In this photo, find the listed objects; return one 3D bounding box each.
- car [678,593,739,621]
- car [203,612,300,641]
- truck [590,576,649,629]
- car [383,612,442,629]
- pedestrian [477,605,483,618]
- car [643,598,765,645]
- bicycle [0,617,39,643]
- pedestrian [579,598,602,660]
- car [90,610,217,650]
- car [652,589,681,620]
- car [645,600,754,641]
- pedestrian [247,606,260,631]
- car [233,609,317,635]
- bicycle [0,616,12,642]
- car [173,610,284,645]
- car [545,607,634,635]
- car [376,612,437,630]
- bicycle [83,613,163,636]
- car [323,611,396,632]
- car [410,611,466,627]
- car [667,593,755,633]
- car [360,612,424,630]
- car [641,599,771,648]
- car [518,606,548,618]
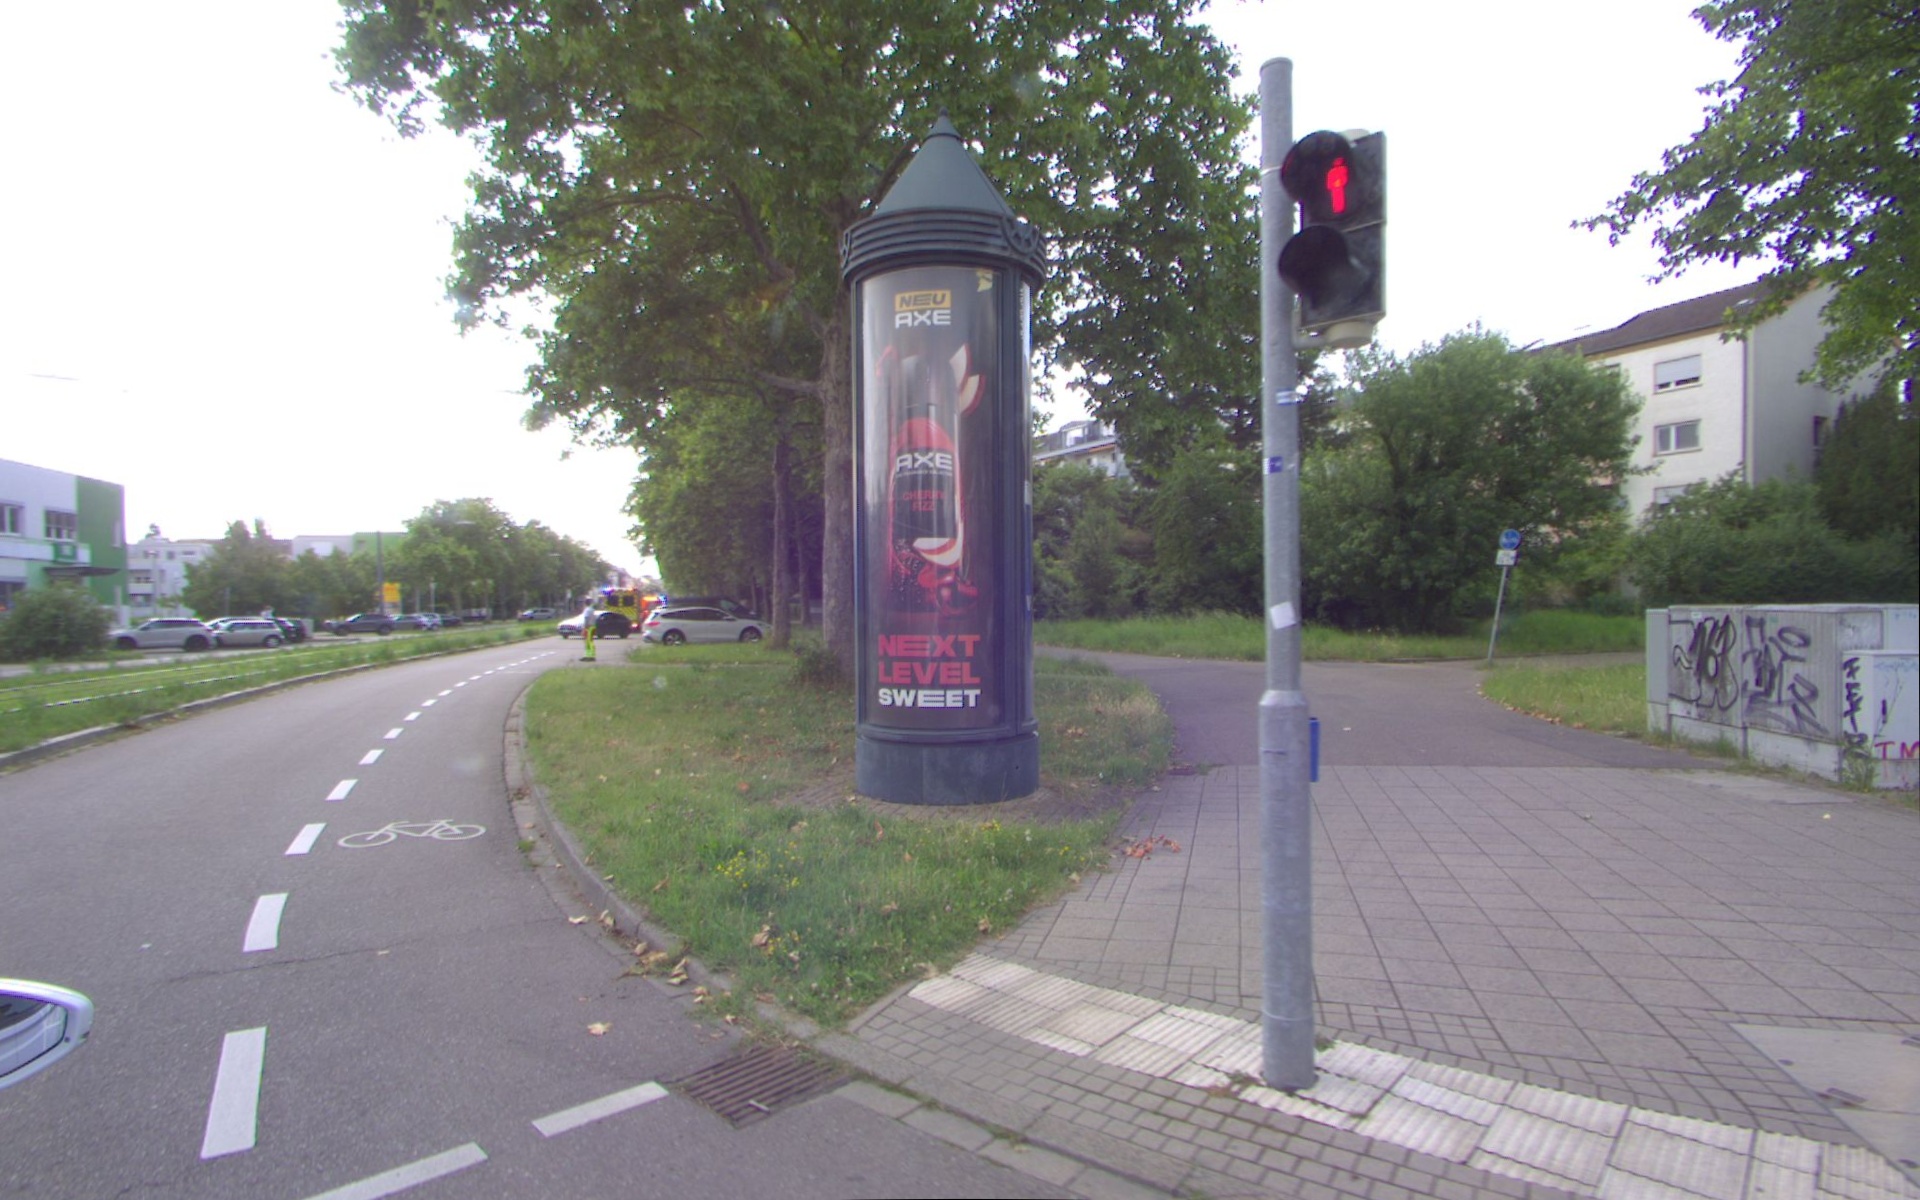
[{"bbox_3d":[-32.029,0.883,127.503,7.334,3.373,2.968,1,-1,-20],"label":"car"},{"bbox_3d":[-38.599,1.407,54.628,4.127,1.523,1.843,0,0,-43],"label":"car"},{"bbox_3d":[-23.332,0.175,68.878,3.135,3.361,7.513,-1,0,-14],"label":"truck"},{"bbox_3d":[-47.622,1.789,87.056,4.263,1.382,1.888,-1,0,-37],"label":"car"},{"bbox_3d":[-64.231,1.589,133.919,0.611,1.752,0.645,1,0,-15],"label":"pedestrian"},{"bbox_3d":[-9.930,0.826,38.845,4.463,1.665,1.997,-1,-1,-17],"label":"car"},{"bbox_3d":[-44.926,1.397,47.084,2.372,1.181,0.748,-1,1,-8],"label":"bicycle"},{"bbox_3d":[-10.333,0.796,27.990,0.577,1.706,0.493,0,0,-19],"label":"pedestrian"},{"bbox_3d":[-36.712,1.323,45.650,1.881,1.651,4.278,0,0,42],"label":"car"},{"bbox_3d":[-33.257,0.569,113.501,2.922,3.373,7.447,1,-1,-16],"label":"car"},{"bbox_3d":[-11.397,0.889,43.807,4.463,1.665,1.997,-1,-1,-17],"label":"car"},{"bbox_3d":[-46.857,1.219,66.416,0.588,1.697,0.539,-1,1,-24],"label":"pedestrian"},{"bbox_3d":[-41.177,1.288,60.212,4.120,1.523,1.847,0,0,-37],"label":"car"},{"bbox_3d":[-45.055,1.363,45.868,2.307,1.181,0.760,-1,1,-9],"label":"bicycle"},{"bbox_3d":[-36.312,1.330,49.750,4.272,1.650,1.884,0,0,-43],"label":"car"},{"bbox_3d":[-19.681,1.108,53.403,1.810,1.412,4.594,0,0,23],"label":"car"},{"bbox_3d":[-46.753,1.750,84.613,4.263,1.382,1.888,-1,0,-37],"label":"car"},{"bbox_3d":[-45.257,1.328,54.175,3.090,1.181,1.139,-1,0,-19],"label":"bicycle"},{"bbox_3d":[-42.902,1.530,71.581,4.265,1.382,1.887,-1,0,-39],"label":"car"},{"bbox_3d":[-47.520,1.731,91.170,4.263,1.382,1.888,-1,0,-37],"label":"car"},{"bbox_3d":[-13.258,0.688,53.407,4.474,2.040,1.997,-1,0,-14],"label":"car"},{"bbox_3d":[-46.136,1.692,81.344,4.263,1.382,1.888,-1,0,-37],"label":"car"},{"bbox_3d":[-9.222,0.848,36.363,4.463,1.665,1.997,-1,-1,-17],"label":"car"},{"bbox_3d":[-66.672,1.880,156.489,1.802,1.861,3.966,0,-1,43],"label":"car"}]
